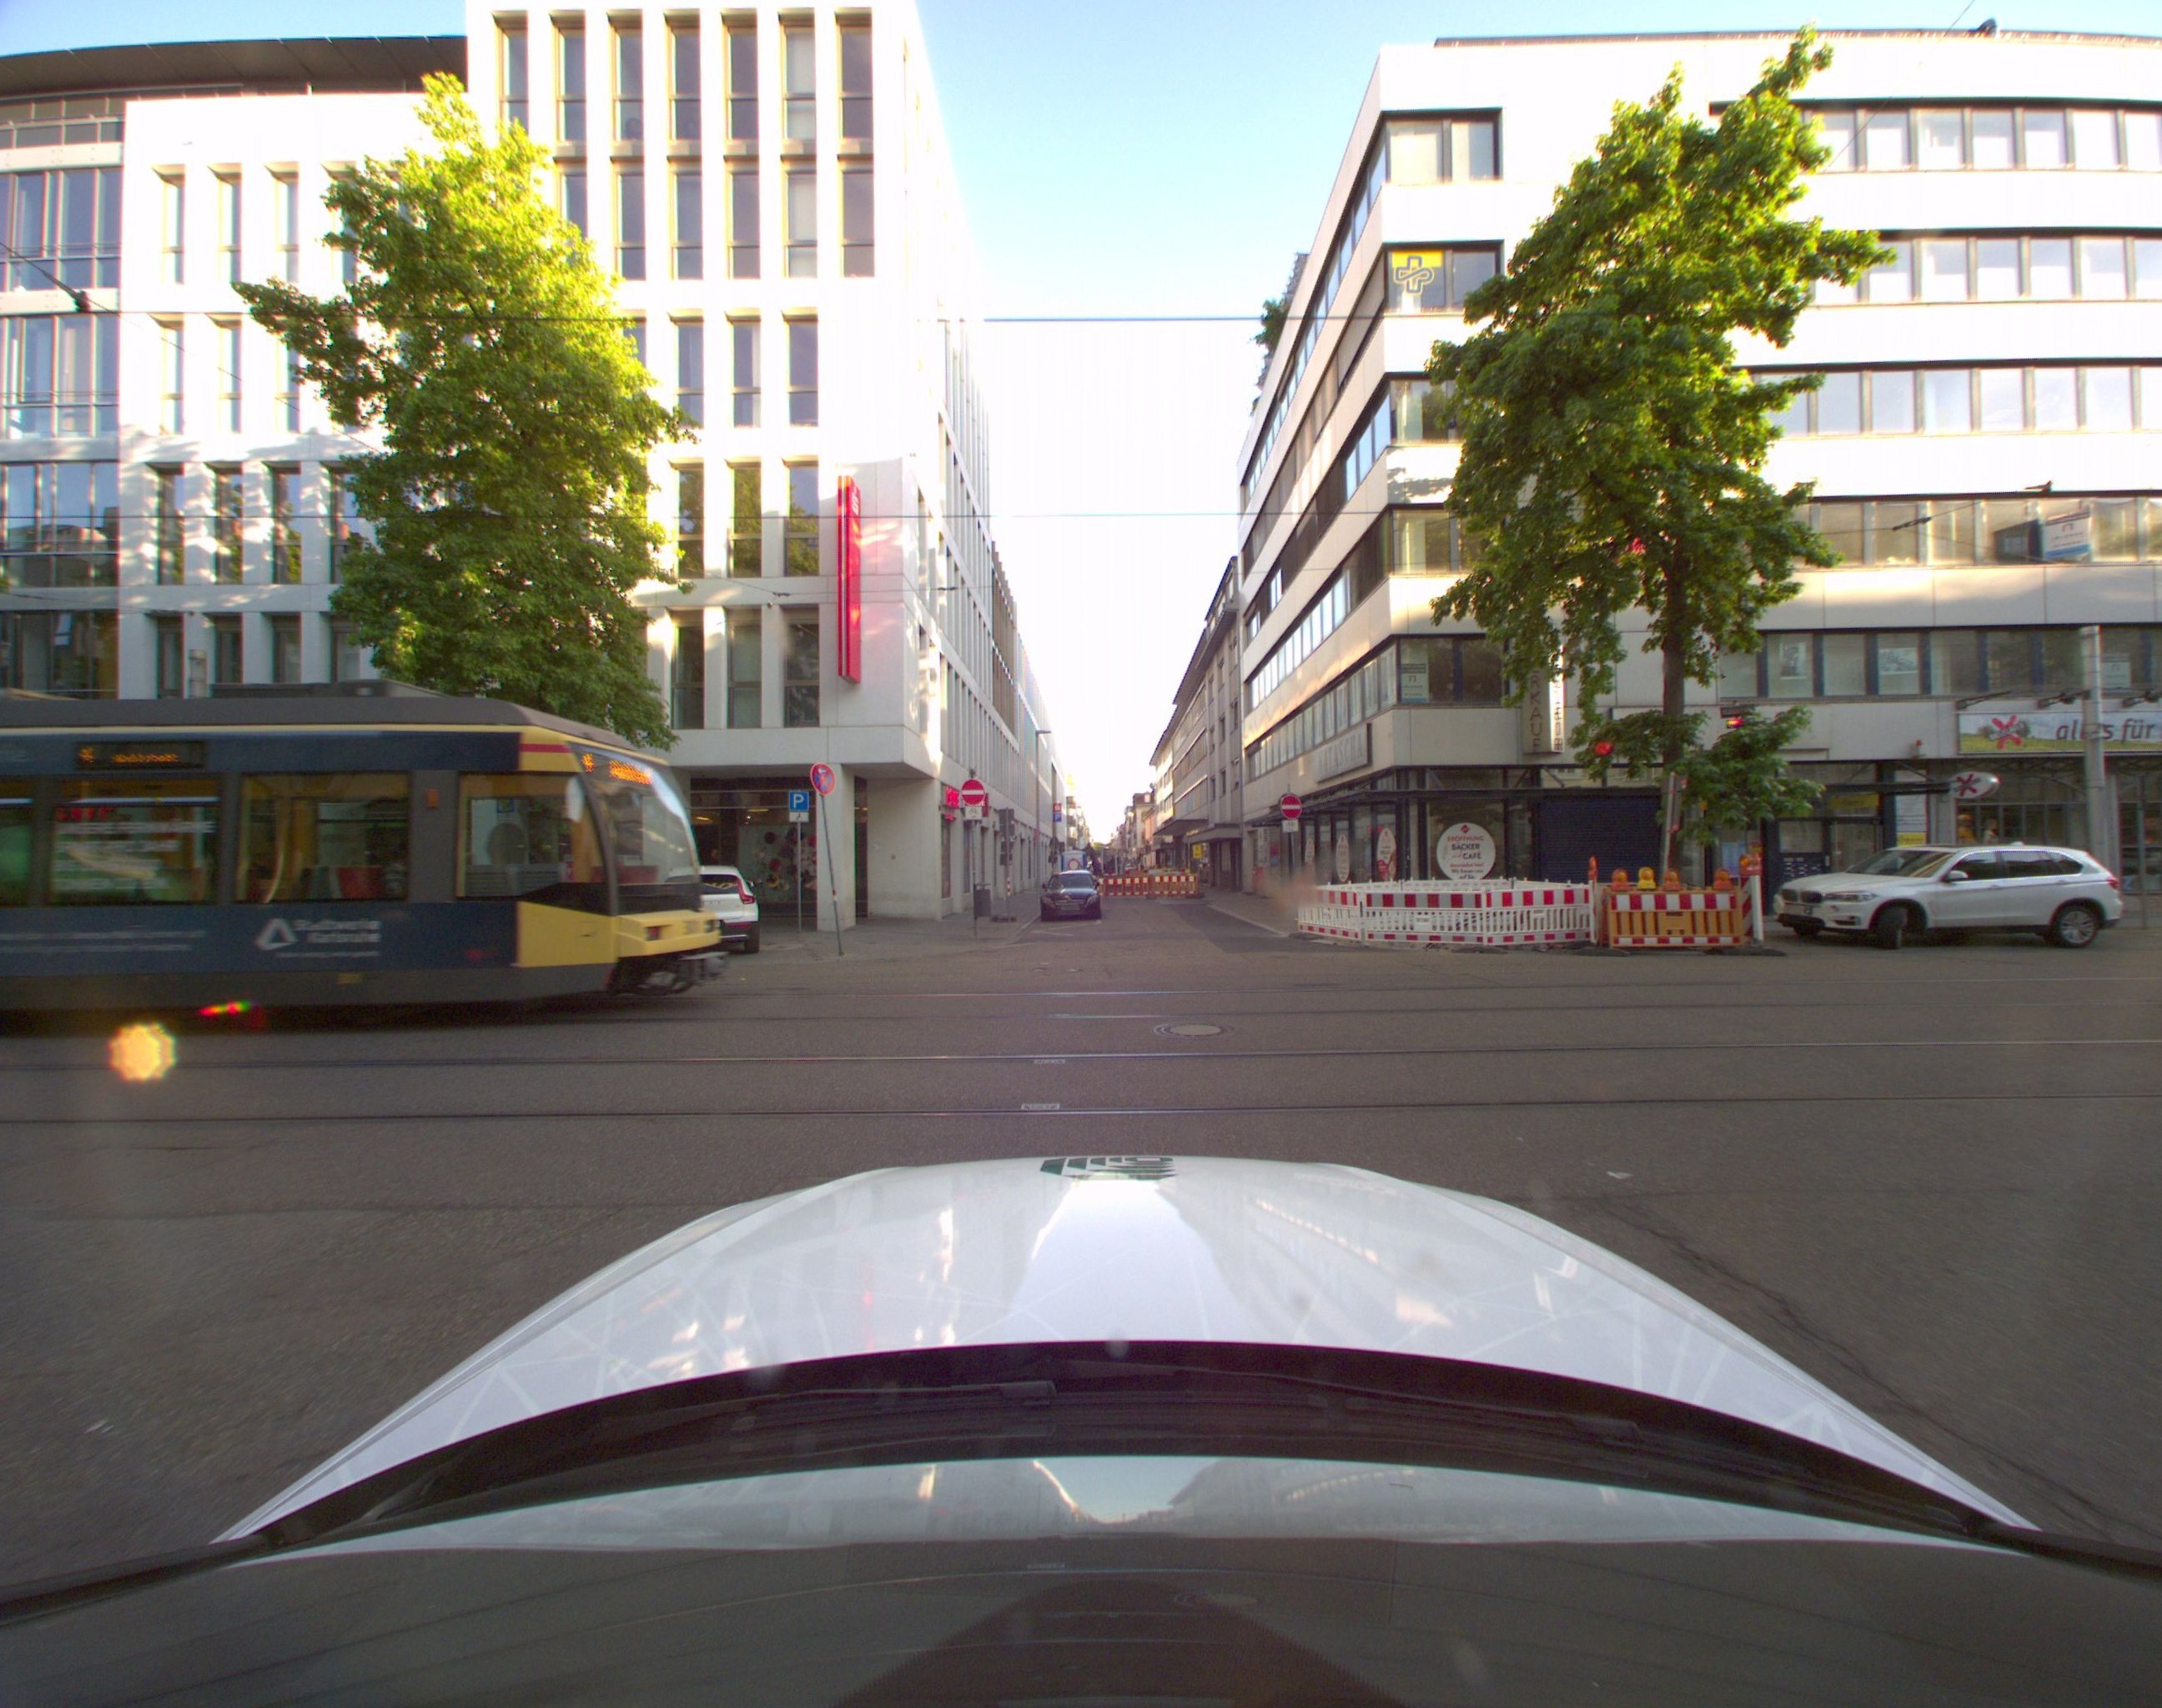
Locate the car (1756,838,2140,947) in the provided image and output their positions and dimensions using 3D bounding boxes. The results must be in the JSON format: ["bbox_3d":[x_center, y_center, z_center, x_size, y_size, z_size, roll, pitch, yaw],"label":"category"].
[{"bbox_3d":[15.230,0.624,14.545,4.636,1.771,2.002,-1,1,2],"label":"car"}]

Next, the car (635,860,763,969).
[{"bbox_3d":[-7.458,1.036,16.139,1.955,1.671,4.240,-2,2,-23],"label":"car"}]

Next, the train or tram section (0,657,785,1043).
[{"bbox_3d":[-9.106,0.024,9.243,10.300,3.524,3.026,-1,-1,0],"label":"train or tram section"}]

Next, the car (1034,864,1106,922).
[{"bbox_3d":[-0.262,1.171,25.468,1.889,1.612,4.155,-2,-1,3],"label":"car"}]

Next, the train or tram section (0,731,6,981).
[{"bbox_3d":[-19.458,0.190,9.292,10.331,3.524,3.017,-1,-2,0],"label":"train or tram section"}]

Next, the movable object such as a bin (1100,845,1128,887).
[{"bbox_3d":[2.010,0.708,48.955,1.428,2.494,1.762,-1,-1,10],"label":"movable object such as a bin"}]
